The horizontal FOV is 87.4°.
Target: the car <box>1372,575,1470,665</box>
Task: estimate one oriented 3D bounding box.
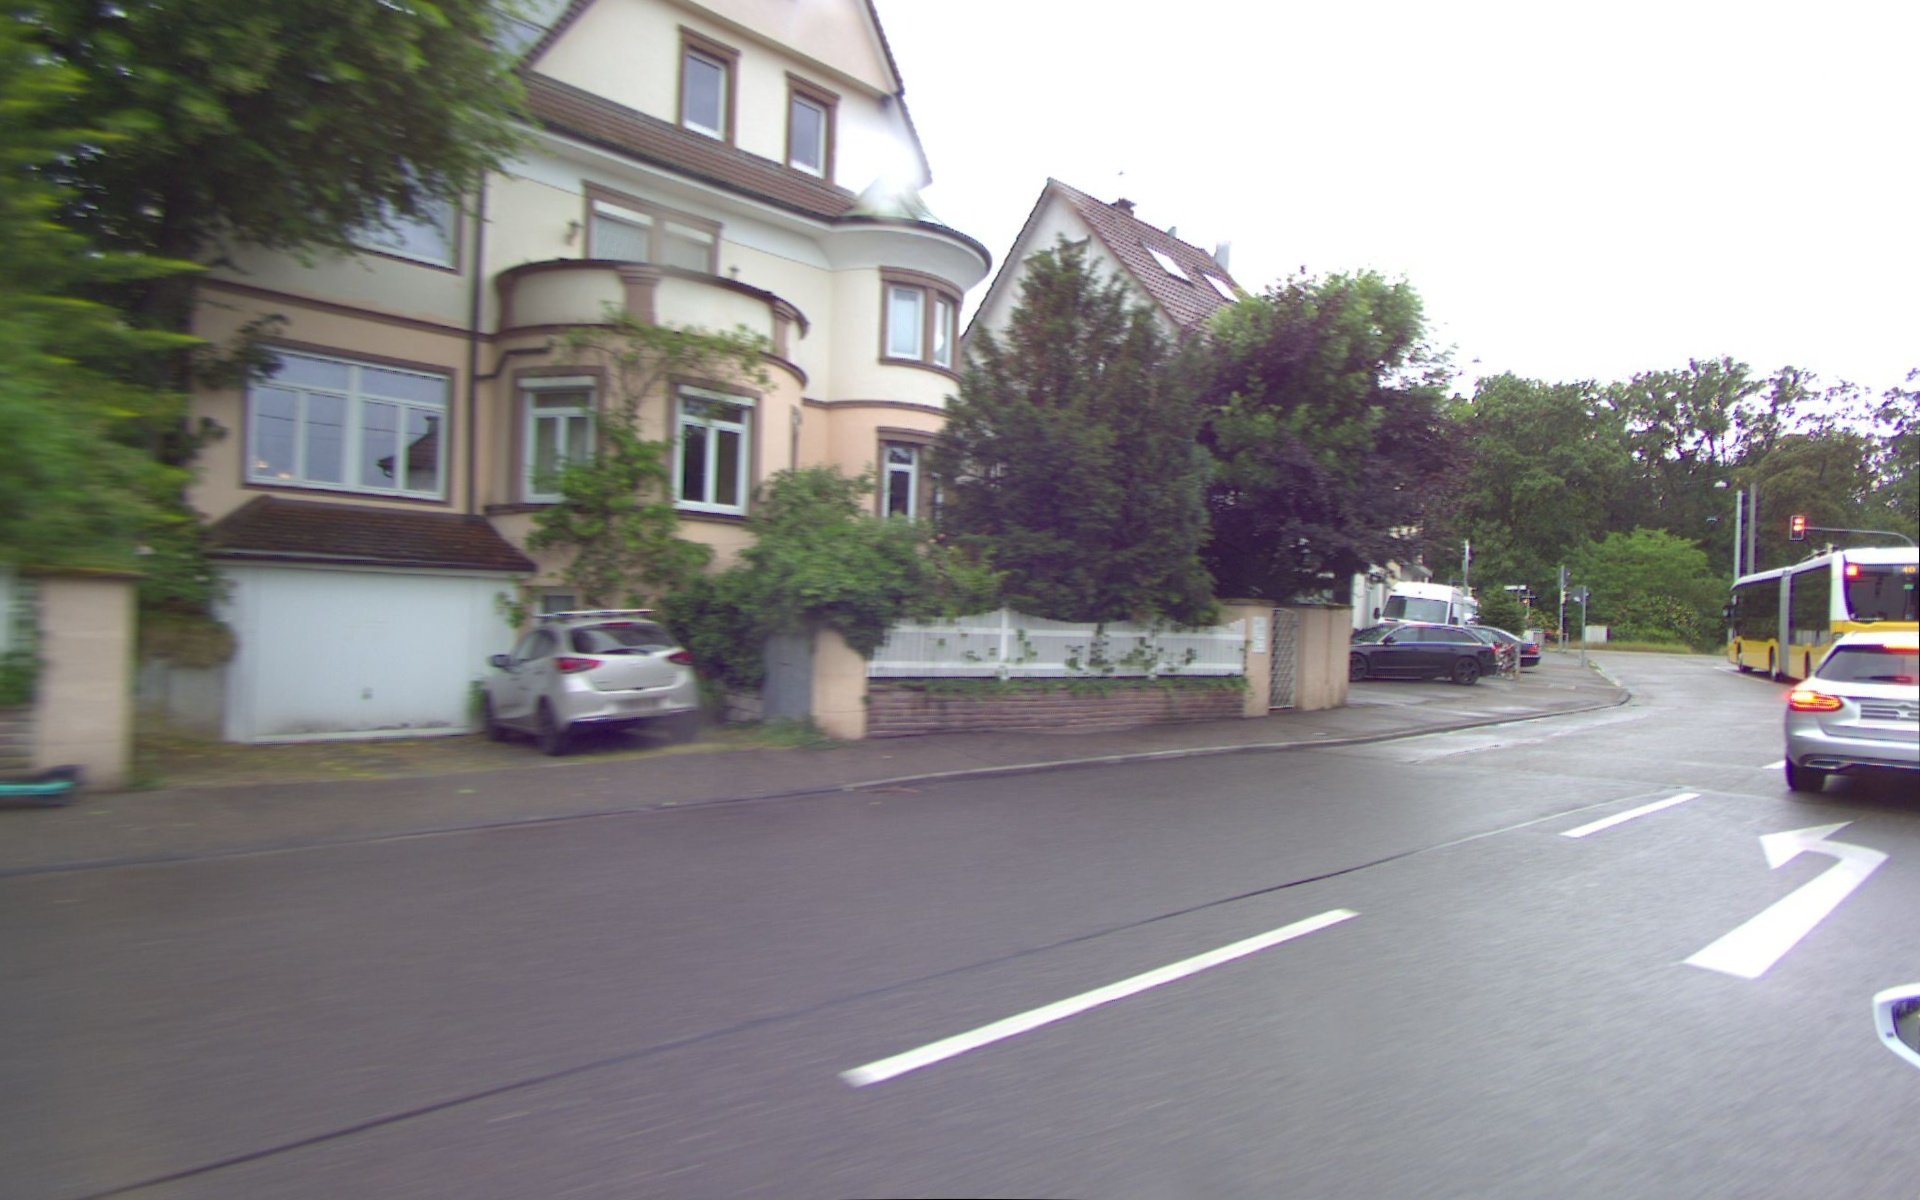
[{"bbox_3d":[14.451,0.611,31.290,1.965,2.480,5.481,3,1,32],"label":"car"}]

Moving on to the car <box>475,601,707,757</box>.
[{"bbox_3d":[-4.550,0.830,12.104,1.693,1.561,3.555,-1,0,-36],"label":"car"}]

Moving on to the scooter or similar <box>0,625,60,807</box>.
[{"bbox_3d":[-6.809,0.772,6.696,1.129,1.204,0.399,2,1,-35],"label":"scooter or similar"}]

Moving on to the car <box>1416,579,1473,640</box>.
[{"bbox_3d":[21.795,0.436,45.043,1.963,2.480,5.486,3,1,28],"label":"car"}]

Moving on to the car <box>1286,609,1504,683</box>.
[{"bbox_3d":[10.736,1.119,24.976,4.594,1.515,1.802,3,1,-4],"label":"car"}]

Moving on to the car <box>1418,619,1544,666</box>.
[{"bbox_3d":[18.629,1.486,36.096,3.756,1.362,1.803,3,2,21],"label":"car"}]

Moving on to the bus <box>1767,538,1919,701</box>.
[{"bbox_3d":[22.440,0.459,24.978,2.639,3.444,8.658,1,0,32],"label":"bus"}]

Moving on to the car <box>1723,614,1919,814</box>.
[{"bbox_3d":[8.838,0.900,9.315,4.451,1.499,1.976,1,0,-42],"label":"car"}]

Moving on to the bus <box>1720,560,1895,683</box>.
[{"bbox_3d":[27.111,0.637,32.617,2.858,3.444,9.021,1,0,31],"label":"bus"}]
